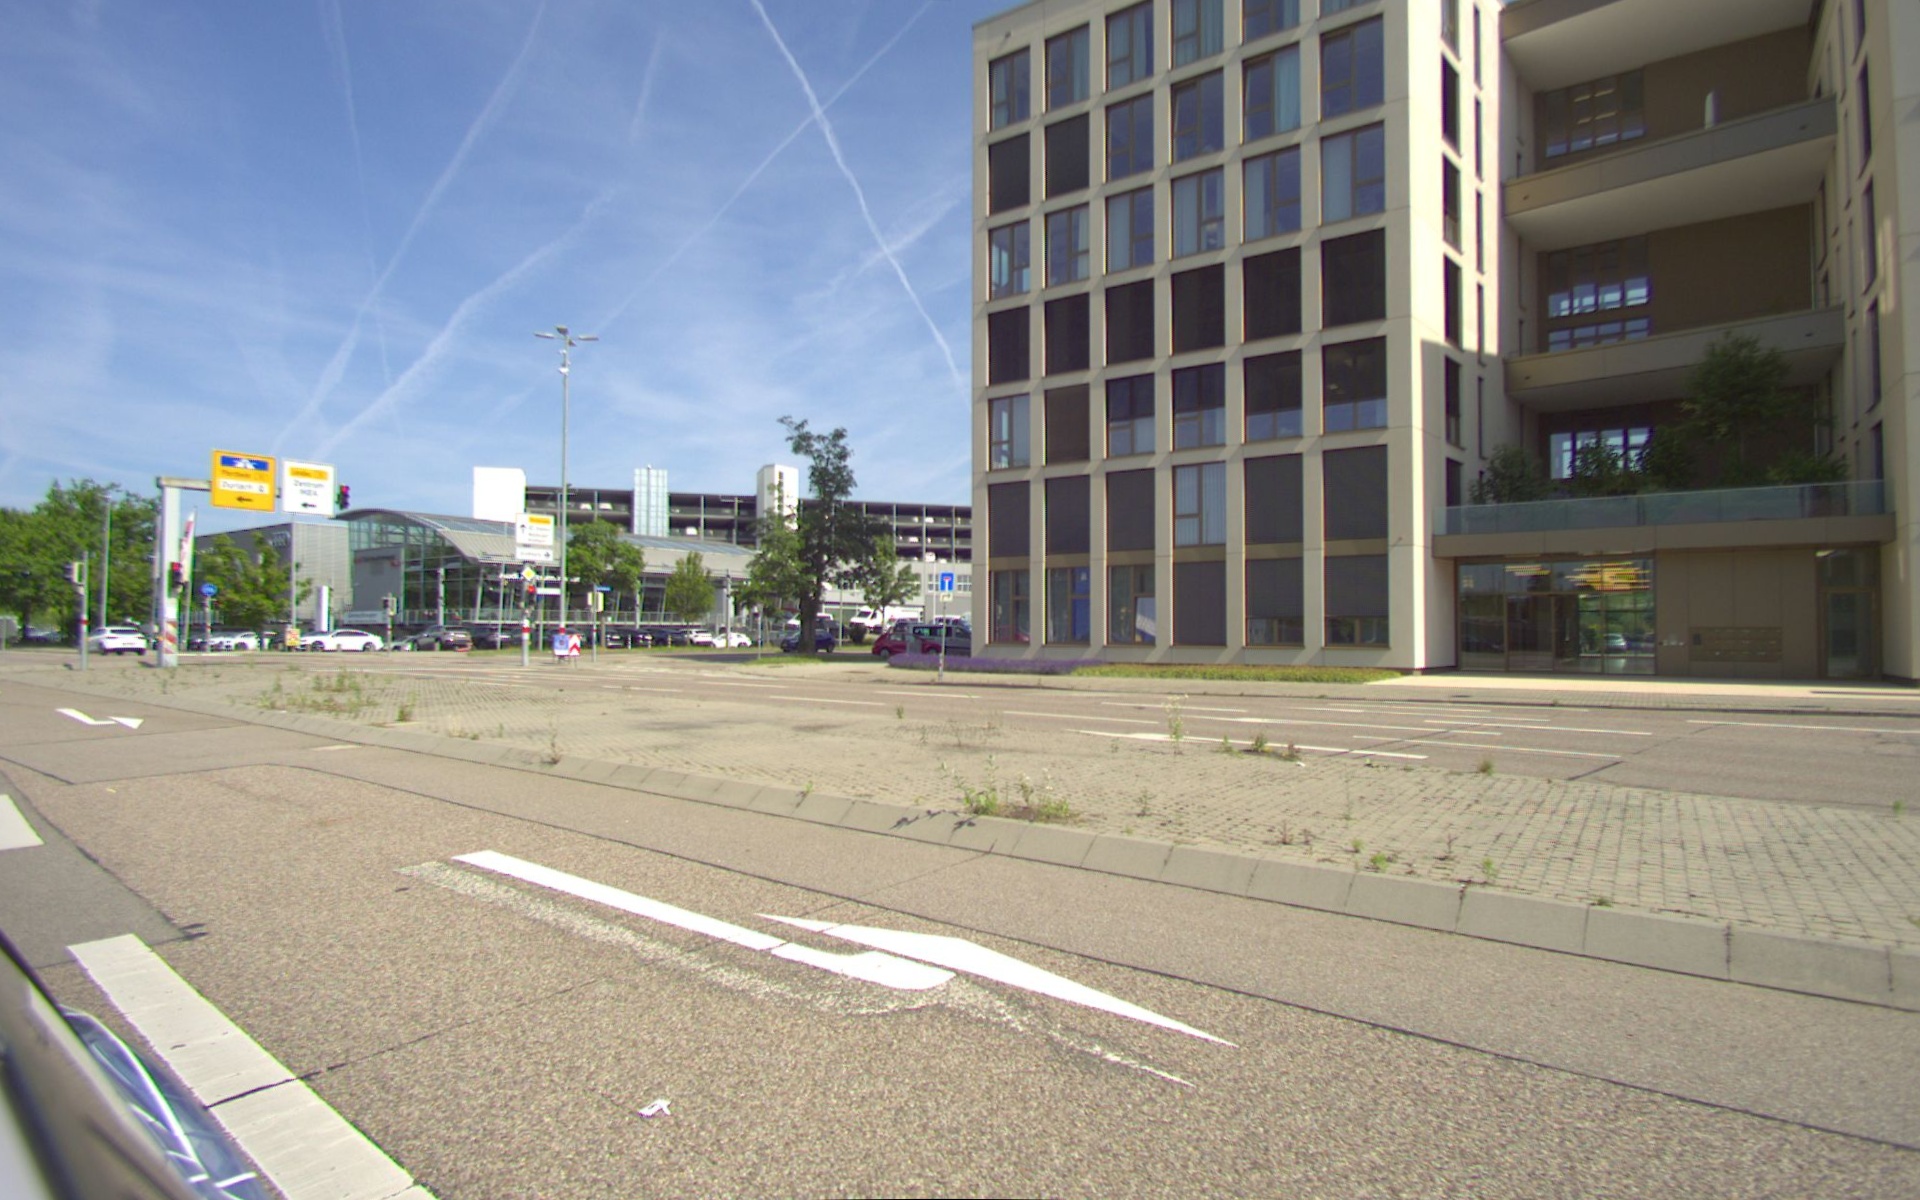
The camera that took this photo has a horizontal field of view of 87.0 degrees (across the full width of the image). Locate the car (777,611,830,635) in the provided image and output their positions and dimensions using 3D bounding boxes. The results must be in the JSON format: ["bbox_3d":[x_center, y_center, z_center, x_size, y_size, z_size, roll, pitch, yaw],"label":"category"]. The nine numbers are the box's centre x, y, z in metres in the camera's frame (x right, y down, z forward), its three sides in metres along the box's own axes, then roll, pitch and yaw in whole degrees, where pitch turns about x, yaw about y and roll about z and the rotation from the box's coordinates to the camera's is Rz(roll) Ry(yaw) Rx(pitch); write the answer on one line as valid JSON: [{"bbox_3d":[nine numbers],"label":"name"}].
[{"bbox_3d":[-13.629,1.951,88.490,2.082,1.922,4.497,3,1,32],"label":"car"}]

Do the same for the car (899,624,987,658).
[{"bbox_3d":[-1.011,2.323,57.282,4.737,1.835,1.901,0,-2,-9],"label":"car"}]

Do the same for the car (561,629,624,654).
[{"bbox_3d":[-25.393,2.889,69.898,4.662,1.529,1.763,-4,-4,34],"label":"car"}]

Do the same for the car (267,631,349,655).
[{"bbox_3d":[-39.287,2.603,61.060,1.759,1.413,3.804,-2,-3,33],"label":"car"}]

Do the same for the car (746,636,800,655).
[{"bbox_3d":[-15.247,3.703,82.430,3.958,1.453,1.803,1,-3,-29],"label":"car"}]

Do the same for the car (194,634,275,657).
[{"bbox_3d":[-48.026,3.022,67.047,1.864,1.329,3.953,-2,-5,34],"label":"car"}]

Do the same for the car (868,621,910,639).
[{"bbox_3d":[-6.783,2.867,97.238,1.996,1.586,3.938,-2,-1,35],"label":"car"}]

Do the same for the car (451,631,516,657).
[{"bbox_3d":[-29.684,2.768,62.978,4.189,1.453,1.772,-4,-4,34],"label":"car"}]

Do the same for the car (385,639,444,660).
[{"bbox_3d":[-40.050,3.619,74.379,1.655,1.484,3.479,-2,-2,33],"label":"car"}]

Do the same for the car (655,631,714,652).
[{"bbox_3d":[-20.797,3.146,76.411,4.547,1.453,1.772,-4,-4,34],"label":"car"}]

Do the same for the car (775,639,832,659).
[{"bbox_3d":[-10.620,3.309,68.871,1.658,1.299,3.754,-1,-2,39],"label":"car"}]

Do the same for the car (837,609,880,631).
[{"bbox_3d":[-11.083,2.245,110.961,2.154,2.296,4.635,-2,-3,35],"label":"car"}]

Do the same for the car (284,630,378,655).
[{"bbox_3d":[-37.113,2.491,59.840,1.896,1.443,4.333,-2,-3,36],"label":"car"}]

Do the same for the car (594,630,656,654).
[{"bbox_3d":[-23.834,3.002,71.949,4.620,1.453,1.772,-4,-4,34],"label":"car"}]

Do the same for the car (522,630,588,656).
[{"bbox_3d":[-27.123,2.861,67.668,4.764,1.517,1.772,-5,-4,34],"label":"car"}]

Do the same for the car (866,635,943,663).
[{"bbox_3d":[-3.019,2.631,54.319,3.967,1.426,1.810,0,-2,-7],"label":"car"}]

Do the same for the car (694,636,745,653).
[{"bbox_3d":[-20.552,3.815,86.541,3.957,1.453,1.803,1,-3,-26],"label":"car"}]

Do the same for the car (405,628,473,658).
[{"bbox_3d":[-31.416,2.613,60.958,4.585,1.626,1.797,-5,-5,35],"label":"car"}]

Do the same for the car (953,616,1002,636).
[{"bbox_3d":[1.796,2.662,103.022,4.738,2.029,1.977,-2,-3,34],"label":"car"}]

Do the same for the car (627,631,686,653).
[{"bbox_3d":[-22.237,3.110,74.136,4.390,1.453,1.772,-4,-4,34],"label":"car"}]

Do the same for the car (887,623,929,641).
[{"bbox_3d":[-4.899,3.019,95.498,1.994,1.586,3.942,-2,-1,32],"label":"car"}]

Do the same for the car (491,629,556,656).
[{"bbox_3d":[-28.203,2.757,65.353,4.364,1.556,1.772,-5,-4,34],"label":"car"}]

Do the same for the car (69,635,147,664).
[{"bbox_3d":[-43.633,2.537,51.825,4.318,1.472,1.768,-1,-4,32],"label":"car"}]

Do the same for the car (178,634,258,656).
[{"bbox_3d":[-50.159,3.037,68.471,1.834,1.329,3.951,-2,-5,35],"label":"car"}]

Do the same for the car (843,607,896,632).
[{"bbox_3d":[-8.743,1.920,98.752,2.084,2.360,5.485,-2,-2,35],"label":"car"}]

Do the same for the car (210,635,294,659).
[{"bbox_3d":[-45.847,3.076,65.585,1.873,1.380,4.038,-2,-5,34],"label":"car"}]
